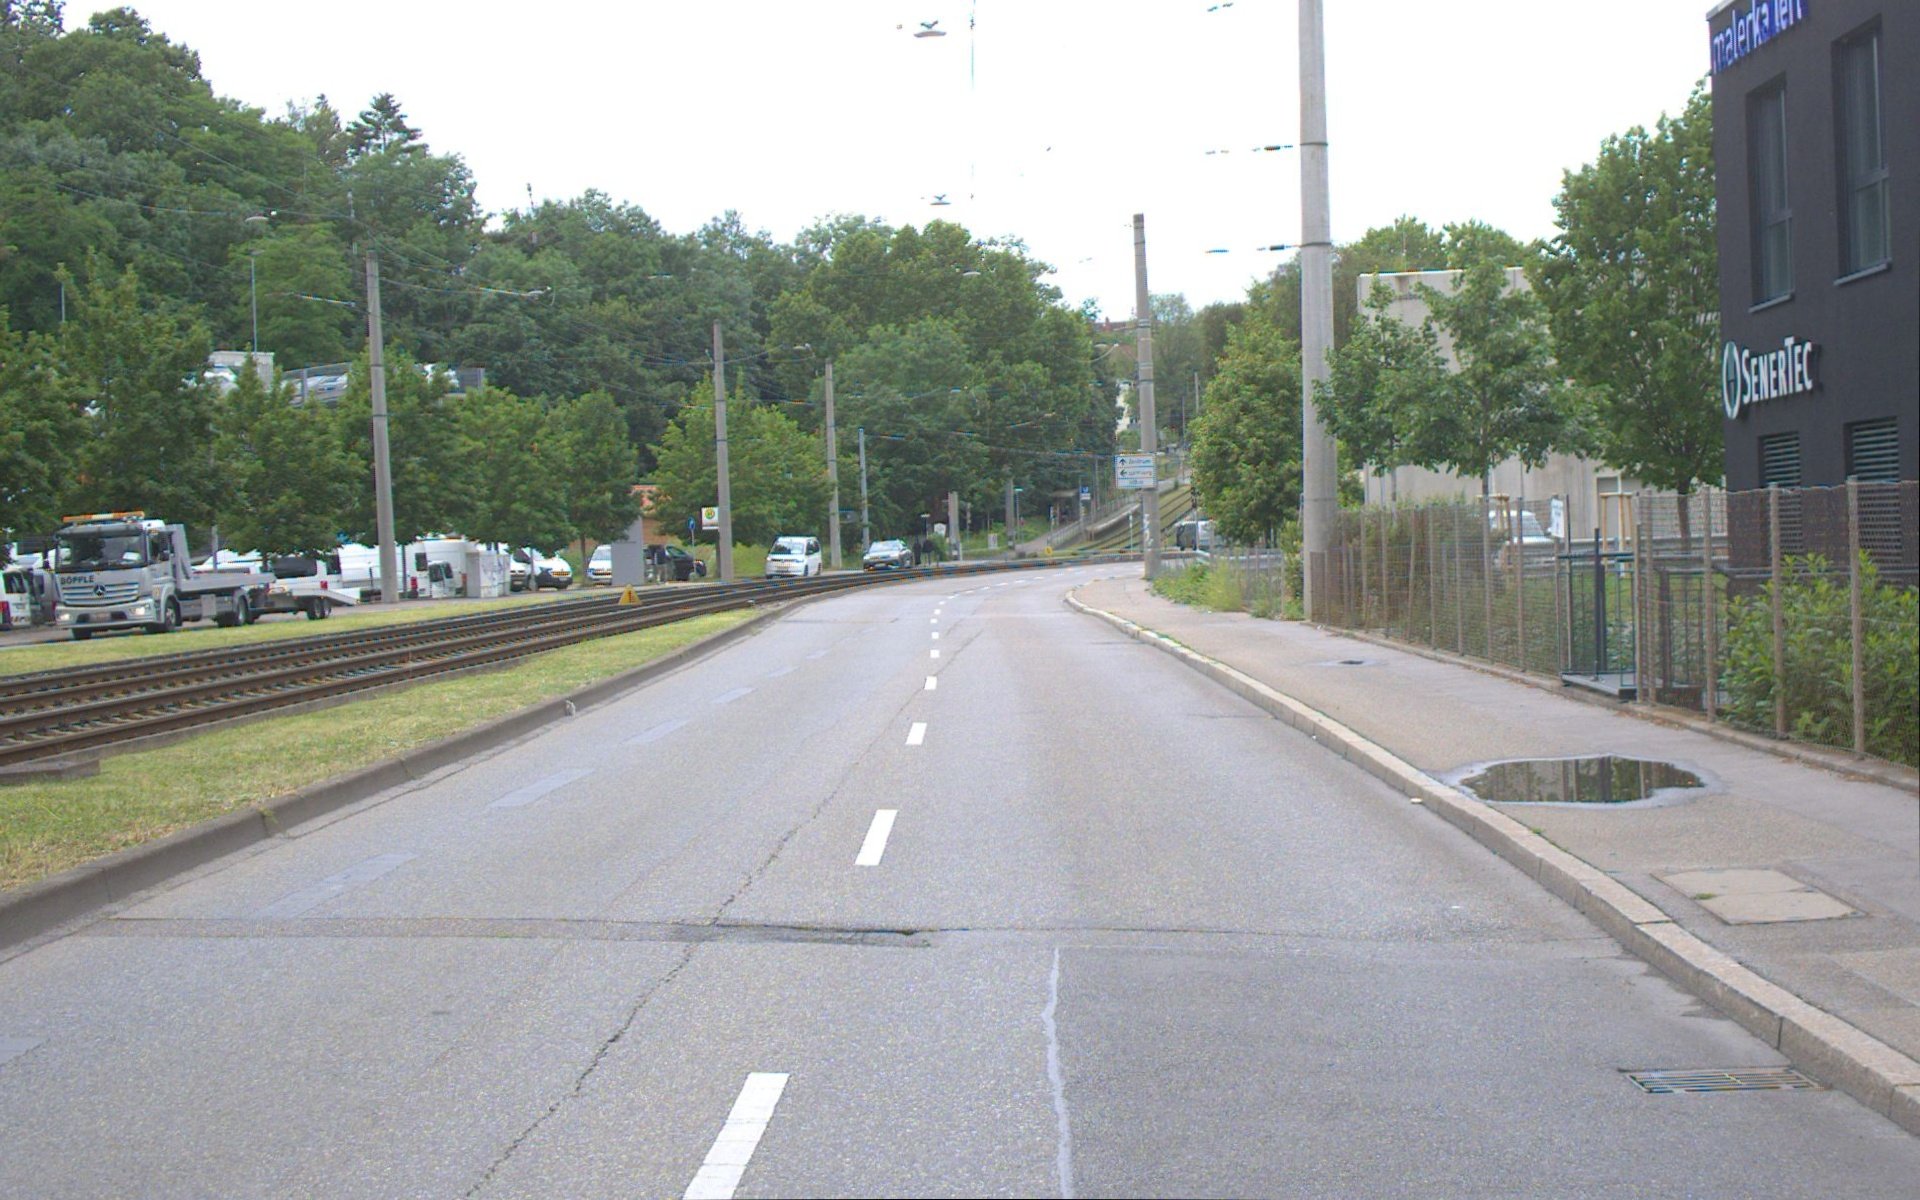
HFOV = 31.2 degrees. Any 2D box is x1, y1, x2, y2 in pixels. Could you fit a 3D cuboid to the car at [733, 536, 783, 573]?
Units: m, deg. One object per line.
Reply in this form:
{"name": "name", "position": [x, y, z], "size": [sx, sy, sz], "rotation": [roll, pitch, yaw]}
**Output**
{"name": "car", "position": [-9.509, -2.159, 161.931], "size": [1.993, 1.634, 4.000], "rotation": [-2, 1, 1]}

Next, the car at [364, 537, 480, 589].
{"name": "car", "position": [-20.459, -1.398, 130.765], "size": [3.988, 1.700, 1.833], "rotation": [-2, -3, 7]}

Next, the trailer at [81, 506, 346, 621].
{"name": "trailer", "position": [-18.046, -0.953, 83.960], "size": [2.893, 2.574, 9.991], "rotation": [-2, 1, 8]}

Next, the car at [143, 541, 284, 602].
{"name": "car", "position": [-23.730, -0.910, 109.357], "size": [3.988, 1.700, 1.833], "rotation": [-2, -3, 7]}

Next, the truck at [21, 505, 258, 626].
{"name": "truck", "position": [-18.762, -0.835, 79.057], "size": [2.884, 2.580, 6.909], "rotation": [-2, 1, 8]}

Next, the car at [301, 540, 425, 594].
{"name": "car", "position": [-21.457, -1.172, 123.590], "size": [3.988, 1.700, 1.833], "rotation": [-2, -3, 7]}

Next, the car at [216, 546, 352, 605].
{"name": "car", "position": [-22.199, -0.794, 112.964], "size": [3.988, 1.700, 1.833], "rotation": [-2, -3, 7]}

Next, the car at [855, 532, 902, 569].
{"name": "car", "position": [-3.870, -2.364, 163.278], "size": [1.993, 1.634, 4.000], "rotation": [-2, 1, 1]}

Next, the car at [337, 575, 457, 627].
{"name": "car", "position": [-20.841, 0.046, 127.354], "size": [3.988, 1.700, 1.833], "rotation": [-2, -3, 7]}

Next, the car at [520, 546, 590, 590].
{"name": "car", "position": [-18.065, -1.397, 153.443], "size": [1.829, 1.700, 4.140], "rotation": [-2, -3, 12]}

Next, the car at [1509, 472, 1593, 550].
{"name": "car", "position": [13.780, -2.066, 80.157], "size": [1.828, 1.700, 3.804], "rotation": [-2, 1, 10]}

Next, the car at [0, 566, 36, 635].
{"name": "car", "position": [-26.235, 0.080, 88.997], "size": [3.988, 1.700, 1.833], "rotation": [-2, 2, 7]}

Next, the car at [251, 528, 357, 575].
{"name": "car", "position": [-26.835, -1.967, 140.703], "size": [4.128, 1.700, 1.834], "rotation": [-2, -3, -7]}

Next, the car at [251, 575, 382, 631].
{"name": "car", "position": [-22.141, 0.083, 118.302], "size": [3.988, 1.700, 1.833], "rotation": [-2, 2, 7]}

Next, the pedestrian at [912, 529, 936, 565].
{"name": "pedestrian", "position": [-2.089, -3.046, 198.326], "size": [1.014, 2.007, 1.144], "rotation": [-3, -3, 17]}
